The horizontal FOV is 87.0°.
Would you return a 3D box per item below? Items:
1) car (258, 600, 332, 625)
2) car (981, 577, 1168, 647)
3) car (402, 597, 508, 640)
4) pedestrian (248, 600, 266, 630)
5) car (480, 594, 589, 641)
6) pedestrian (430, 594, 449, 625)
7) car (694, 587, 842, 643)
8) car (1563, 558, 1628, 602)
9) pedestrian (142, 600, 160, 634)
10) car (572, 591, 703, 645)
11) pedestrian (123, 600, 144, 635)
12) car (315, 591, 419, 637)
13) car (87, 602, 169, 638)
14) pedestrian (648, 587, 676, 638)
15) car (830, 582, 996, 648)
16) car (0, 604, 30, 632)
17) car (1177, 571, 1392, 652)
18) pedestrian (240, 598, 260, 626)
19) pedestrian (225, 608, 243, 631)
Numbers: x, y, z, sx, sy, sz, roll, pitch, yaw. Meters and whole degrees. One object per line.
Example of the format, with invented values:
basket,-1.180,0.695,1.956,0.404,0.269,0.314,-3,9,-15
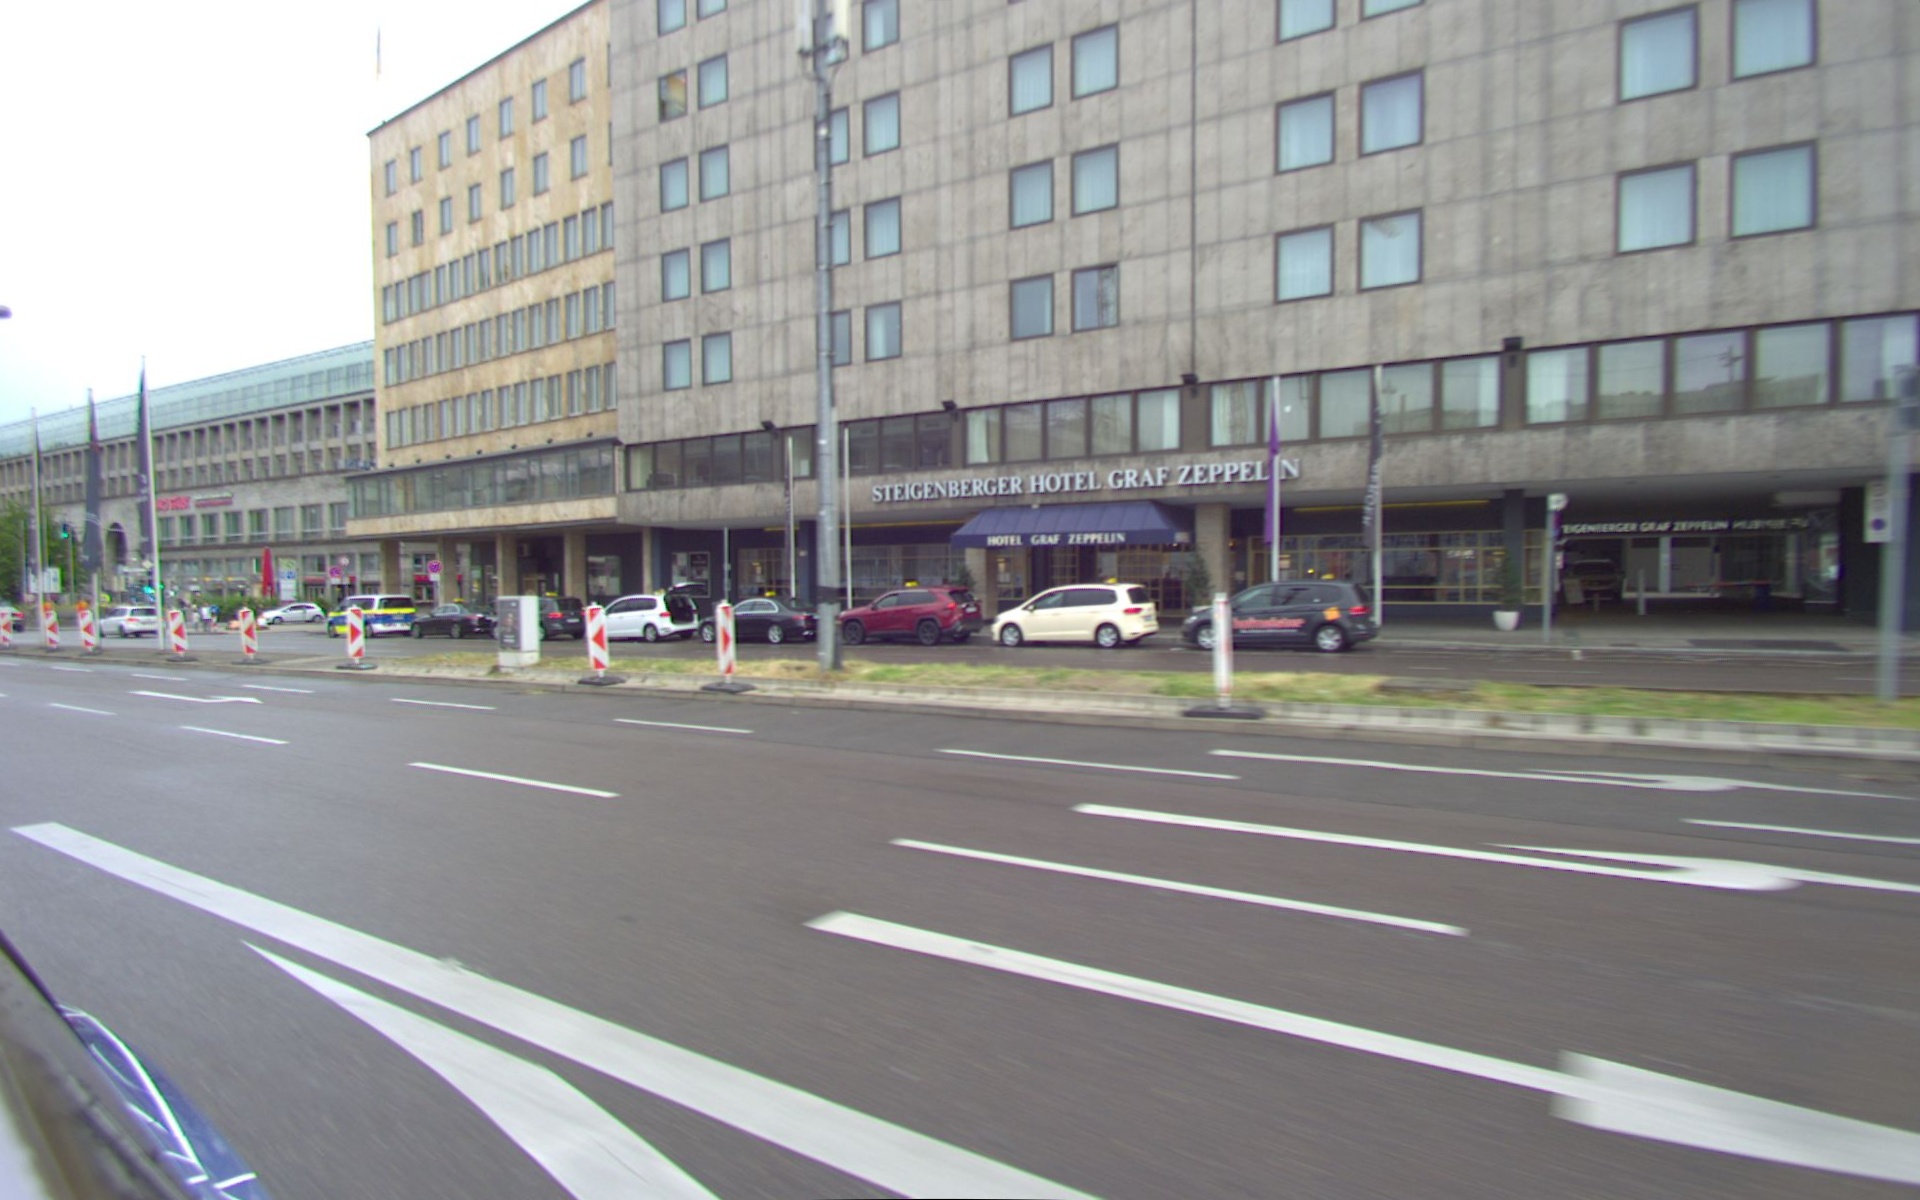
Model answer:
car,-47.301,0.857,72.026,1.803,1.652,4.044,-1,1,36
car,2.965,0.289,26.534,4.563,1.711,1.802,0,1,32
car,-20.733,0.734,41.475,4.548,1.633,1.741,0,0,31
pedestrian,-39.692,0.859,57.156,0.750,1.681,0.559,-1,0,30
car,-16.160,0.666,38.356,4.216,1.694,1.740,-1,0,33
pedestrian,-32.088,0.573,62.394,0.771,1.889,0.708,-1,1,37
car,-6.186,0.479,32.422,4.601,1.672,1.888,-1,1,32
car,27.593,-0.860,43.896,2.262,1.741,4.822,0,1,33
pedestrian,-47.025,0.975,58.830,0.749,1.939,0.585,-1,0,31
car,-11.386,0.610,35.623,4.694,1.771,1.741,0,0,31
pedestrian,-48.775,1.025,59.736,0.804,2.029,0.698,-1,0,32
car,-26.827,0.659,45.757,5.057,1.943,1.886,-2,-1,31
car,-41.803,0.982,50.823,4.484,1.681,1.810,-1,1,31
pedestrian,-10.776,0.431,36.595,0.656,1.794,0.616,0,3,32
car,-1.419,0.395,29.536,4.634,1.781,1.886,0,1,34
car,-59.525,1.136,62.703,4.487,1.682,1.760,-1,0,33
car,7.568,0.254,23.766,4.502,1.741,1.801,0,1,34
pedestrian,-40.696,0.691,58.017,0.676,1.604,0.661,-1,0,21
pedestrian,-41.397,1.087,57.691,0.750,1.301,0.559,-1,0,30
